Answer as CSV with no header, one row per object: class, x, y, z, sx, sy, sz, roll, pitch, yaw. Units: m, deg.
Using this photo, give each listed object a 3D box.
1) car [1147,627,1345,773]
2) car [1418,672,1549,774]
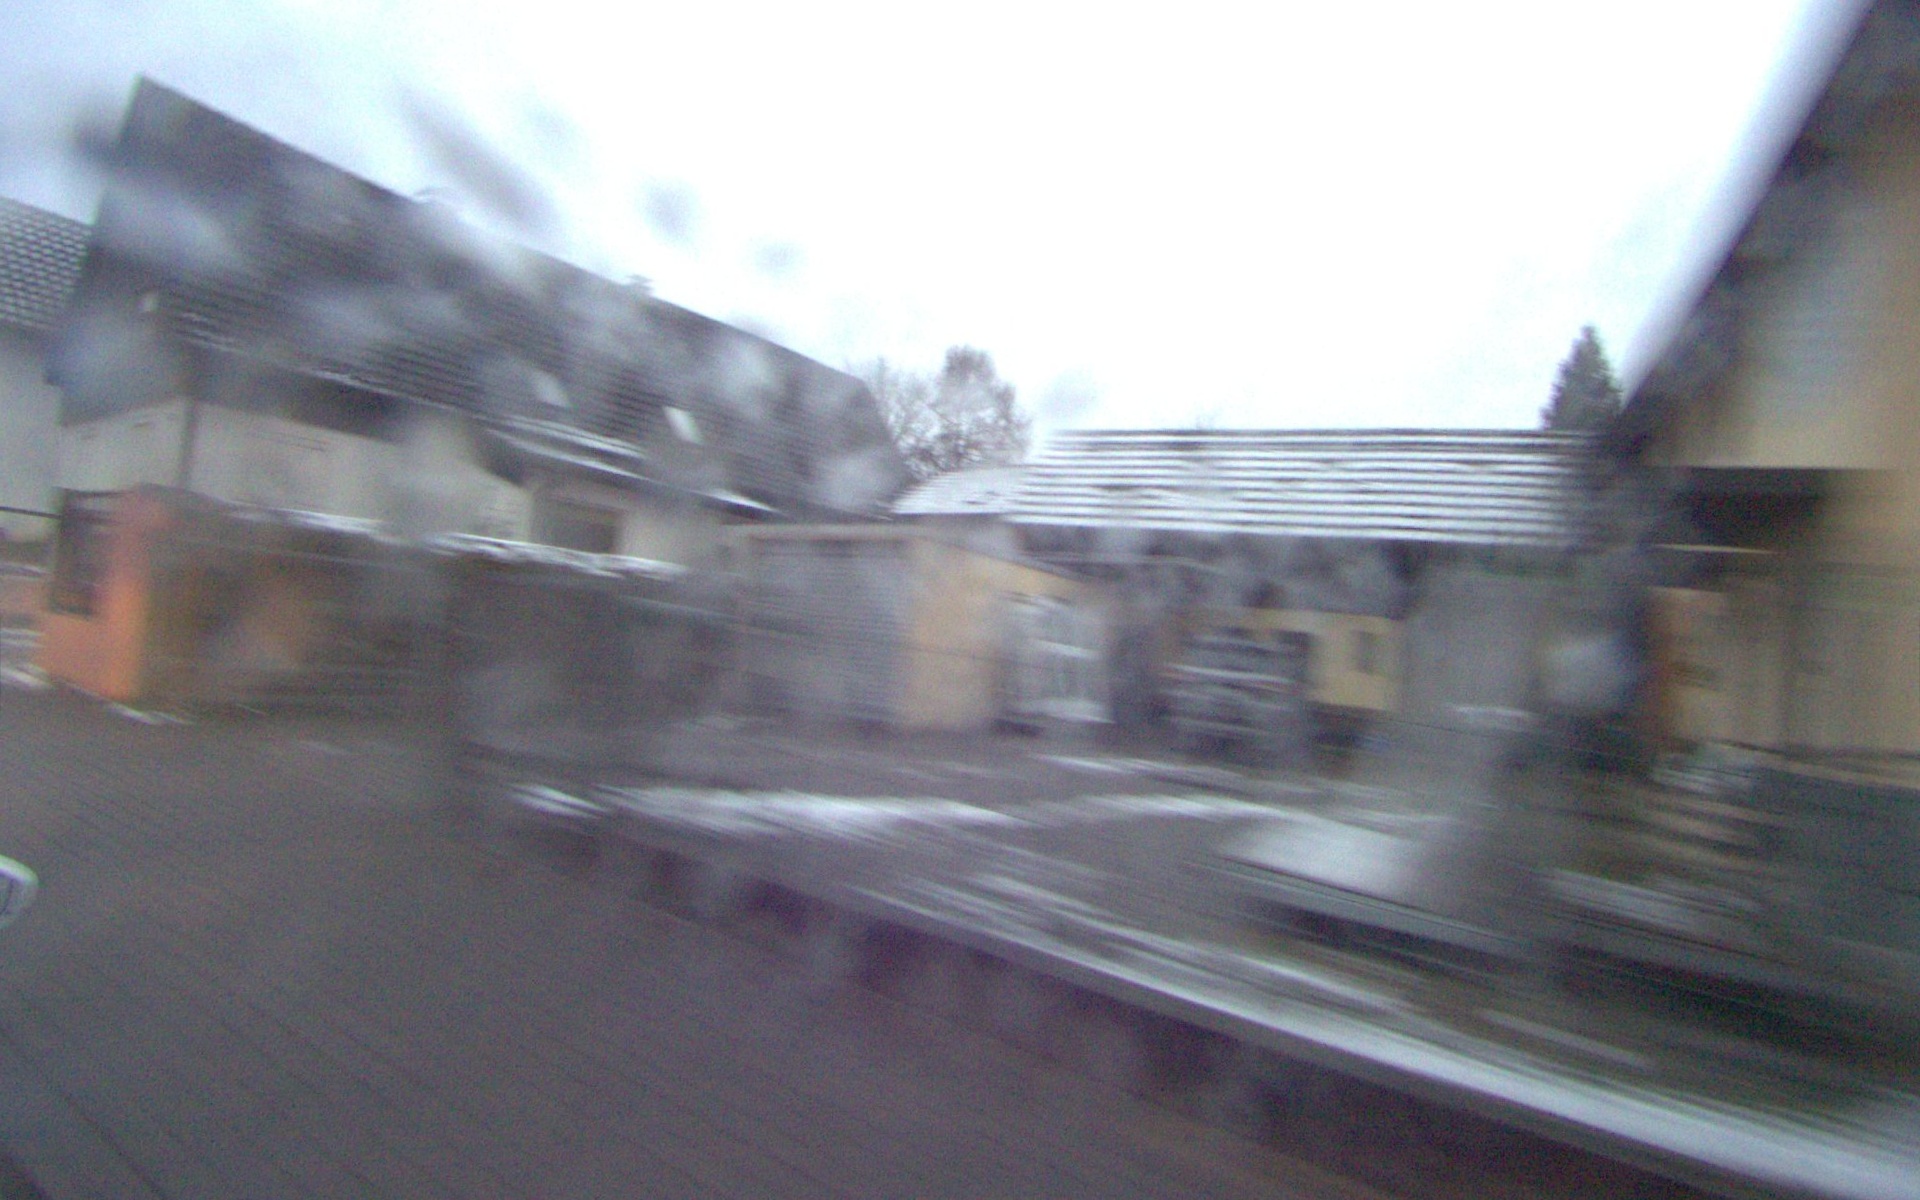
car,4.306,1.399,14.668,1.965,1.611,3.997,6,-1,26
car,9.296,2.106,18.028,1.748,1.398,3.998,6,-2,26
